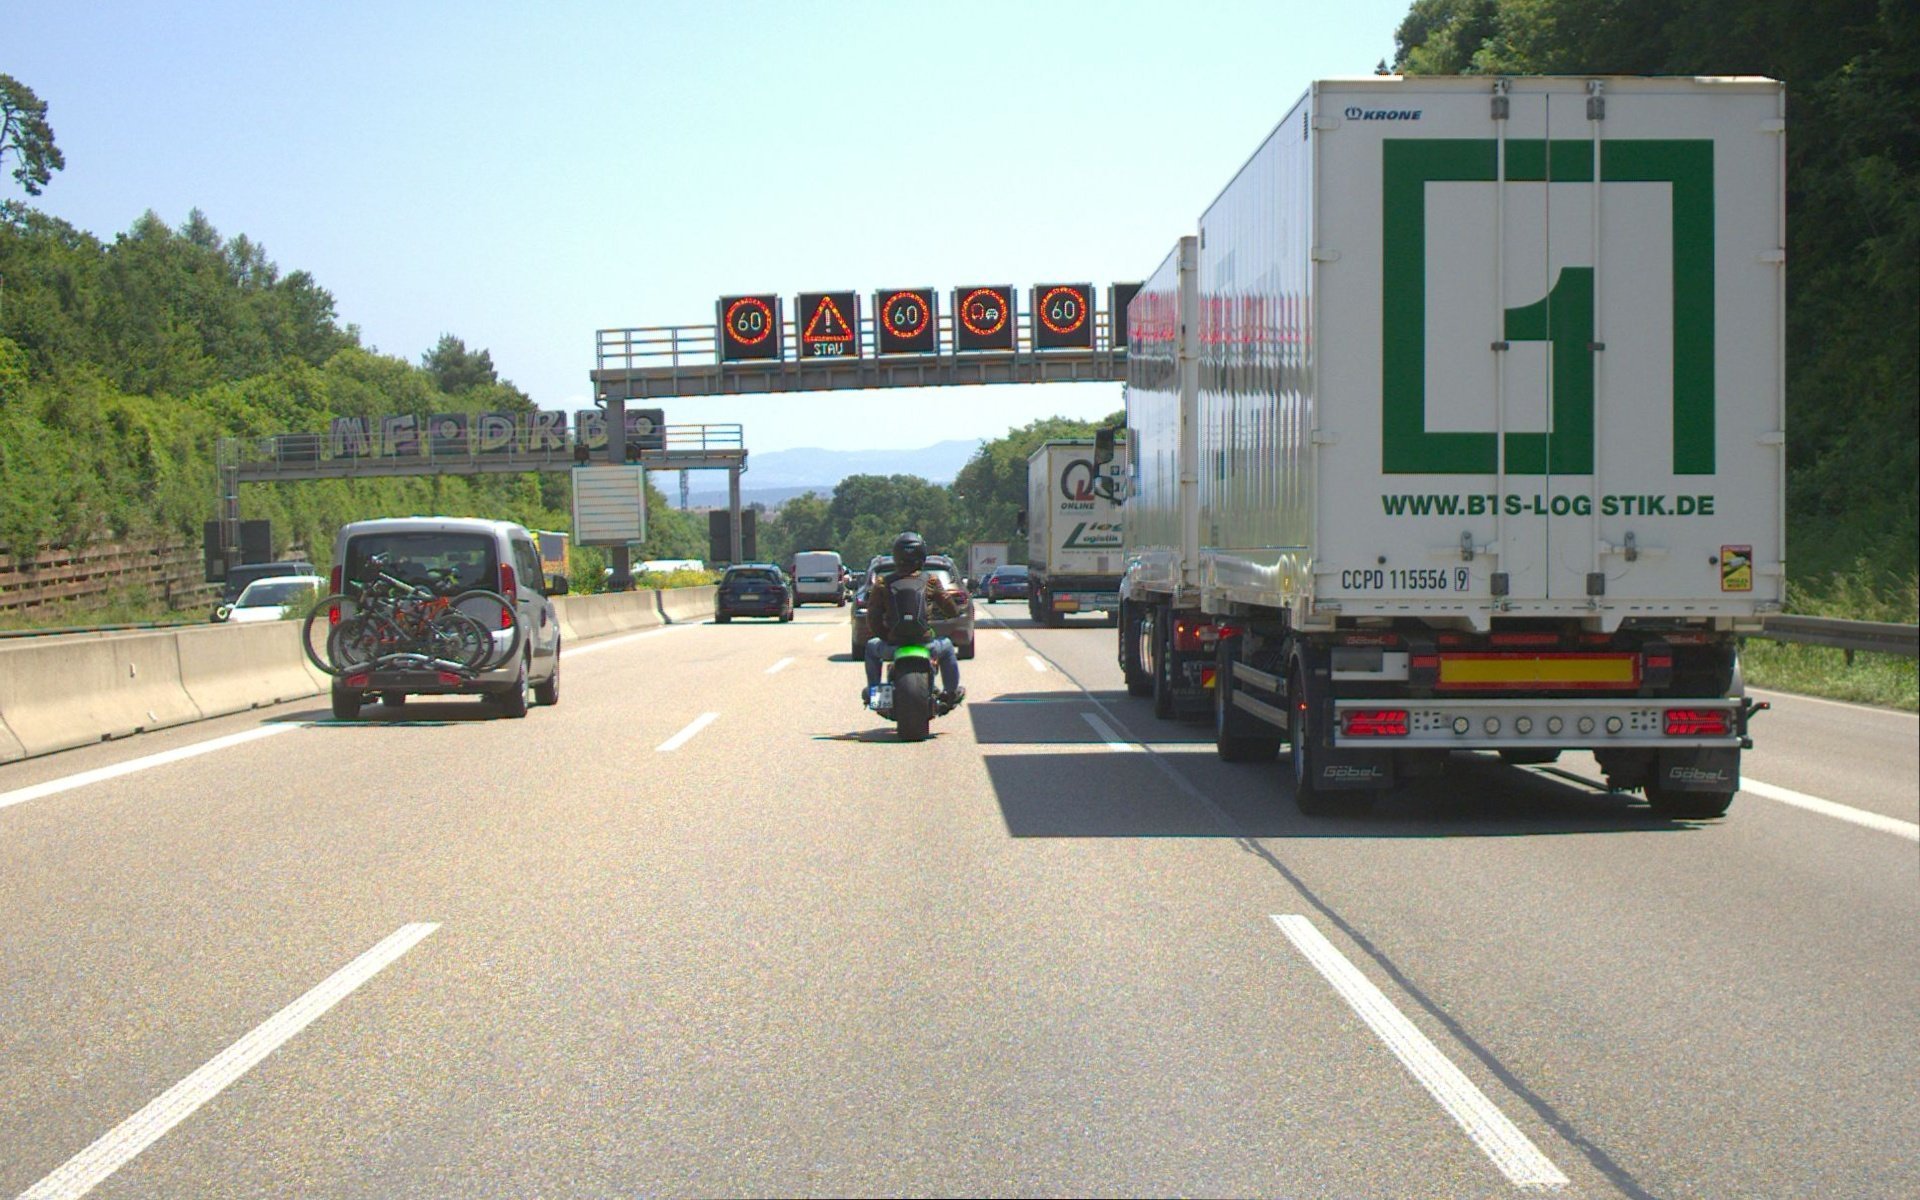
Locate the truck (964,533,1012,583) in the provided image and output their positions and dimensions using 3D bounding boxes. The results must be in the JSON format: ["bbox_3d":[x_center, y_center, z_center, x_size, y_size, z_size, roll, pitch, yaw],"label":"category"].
[{"bbox_3d":[1.895,-2.855,236.268,3.067,3.335,9.652,1,1,0],"label":"truck"}]

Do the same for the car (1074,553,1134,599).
[{"bbox_3d":[4.898,-0.826,117.134,1.831,1.521,4.027,0,1,-1],"label":"car"}]

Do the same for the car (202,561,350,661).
[{"bbox_3d":[-11.851,0.159,59.787,1.746,1.599,4.059,-2,1,-1],"label":"car"}]

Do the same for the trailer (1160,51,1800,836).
[{"bbox_3d":[3.056,-0.881,23.294,2.680,4.161,10.066,0,1,-1],"label":"trailer"}]

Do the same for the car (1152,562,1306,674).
[{"bbox_3d":[3.886,0.223,50.340,1.845,1.552,4.392,0,1,-1],"label":"car"}]

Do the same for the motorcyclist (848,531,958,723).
[{"bbox_3d":[-0.450,0.215,27.664,0.856,1.510,0.914,0,0,0],"label":"motorcyclist"}]

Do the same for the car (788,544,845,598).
[{"bbox_3d":[-4.868,-1.001,116.999,1.831,1.804,4.120,0,1,-1],"label":"car"}]

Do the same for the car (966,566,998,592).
[{"bbox_3d":[1.306,-1.260,207.681,1.831,1.521,4.027,0,1,-1],"label":"car"}]

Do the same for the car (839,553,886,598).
[{"bbox_3d":[-3.907,-1.005,138.665,1.831,1.804,4.120,0,1,-1],"label":"car"}]

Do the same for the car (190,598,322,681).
[{"bbox_3d":[-15.375,0.837,75.299,1.939,1.599,4.657,-2,1,-1],"label":"car"}]

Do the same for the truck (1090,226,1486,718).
[{"bbox_3d":[2.902,-1.103,33.600,2.680,4.046,10.626,0,1,-1],"label":"truck"}]

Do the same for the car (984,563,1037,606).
[{"bbox_3d":[1.831,-0.562,125.193,1.831,1.521,4.027,0,1,-1],"label":"car"}]

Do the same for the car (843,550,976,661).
[{"bbox_3d":[-0.736,0.044,50.070,1.845,1.552,4.439,0,1,-1],"label":"car"}]

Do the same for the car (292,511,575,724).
[{"bbox_3d":[-4.843,0.146,32.366,1.898,1.841,5.483,0,0,-1],"label":"car"}]

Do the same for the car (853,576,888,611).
[{"bbox_3d":[-4.727,-0.365,181.665,1.831,1.804,4.120,0,1,-1],"label":"car"}]

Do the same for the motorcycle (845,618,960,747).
[{"bbox_3d":[-0.444,0.644,27.661,0.862,0.978,2.130,0,0,0],"label":"motorcycle"}]

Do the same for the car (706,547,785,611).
[{"bbox_3d":[-5.299,-0.536,85.422,1.758,1.538,4.395,0,1,-1],"label":"car"}]

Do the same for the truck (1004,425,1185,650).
[{"bbox_3d":[2.946,-1.402,81.259,3.383,4.702,17.709,1,1,0],"label":"truck"}]
